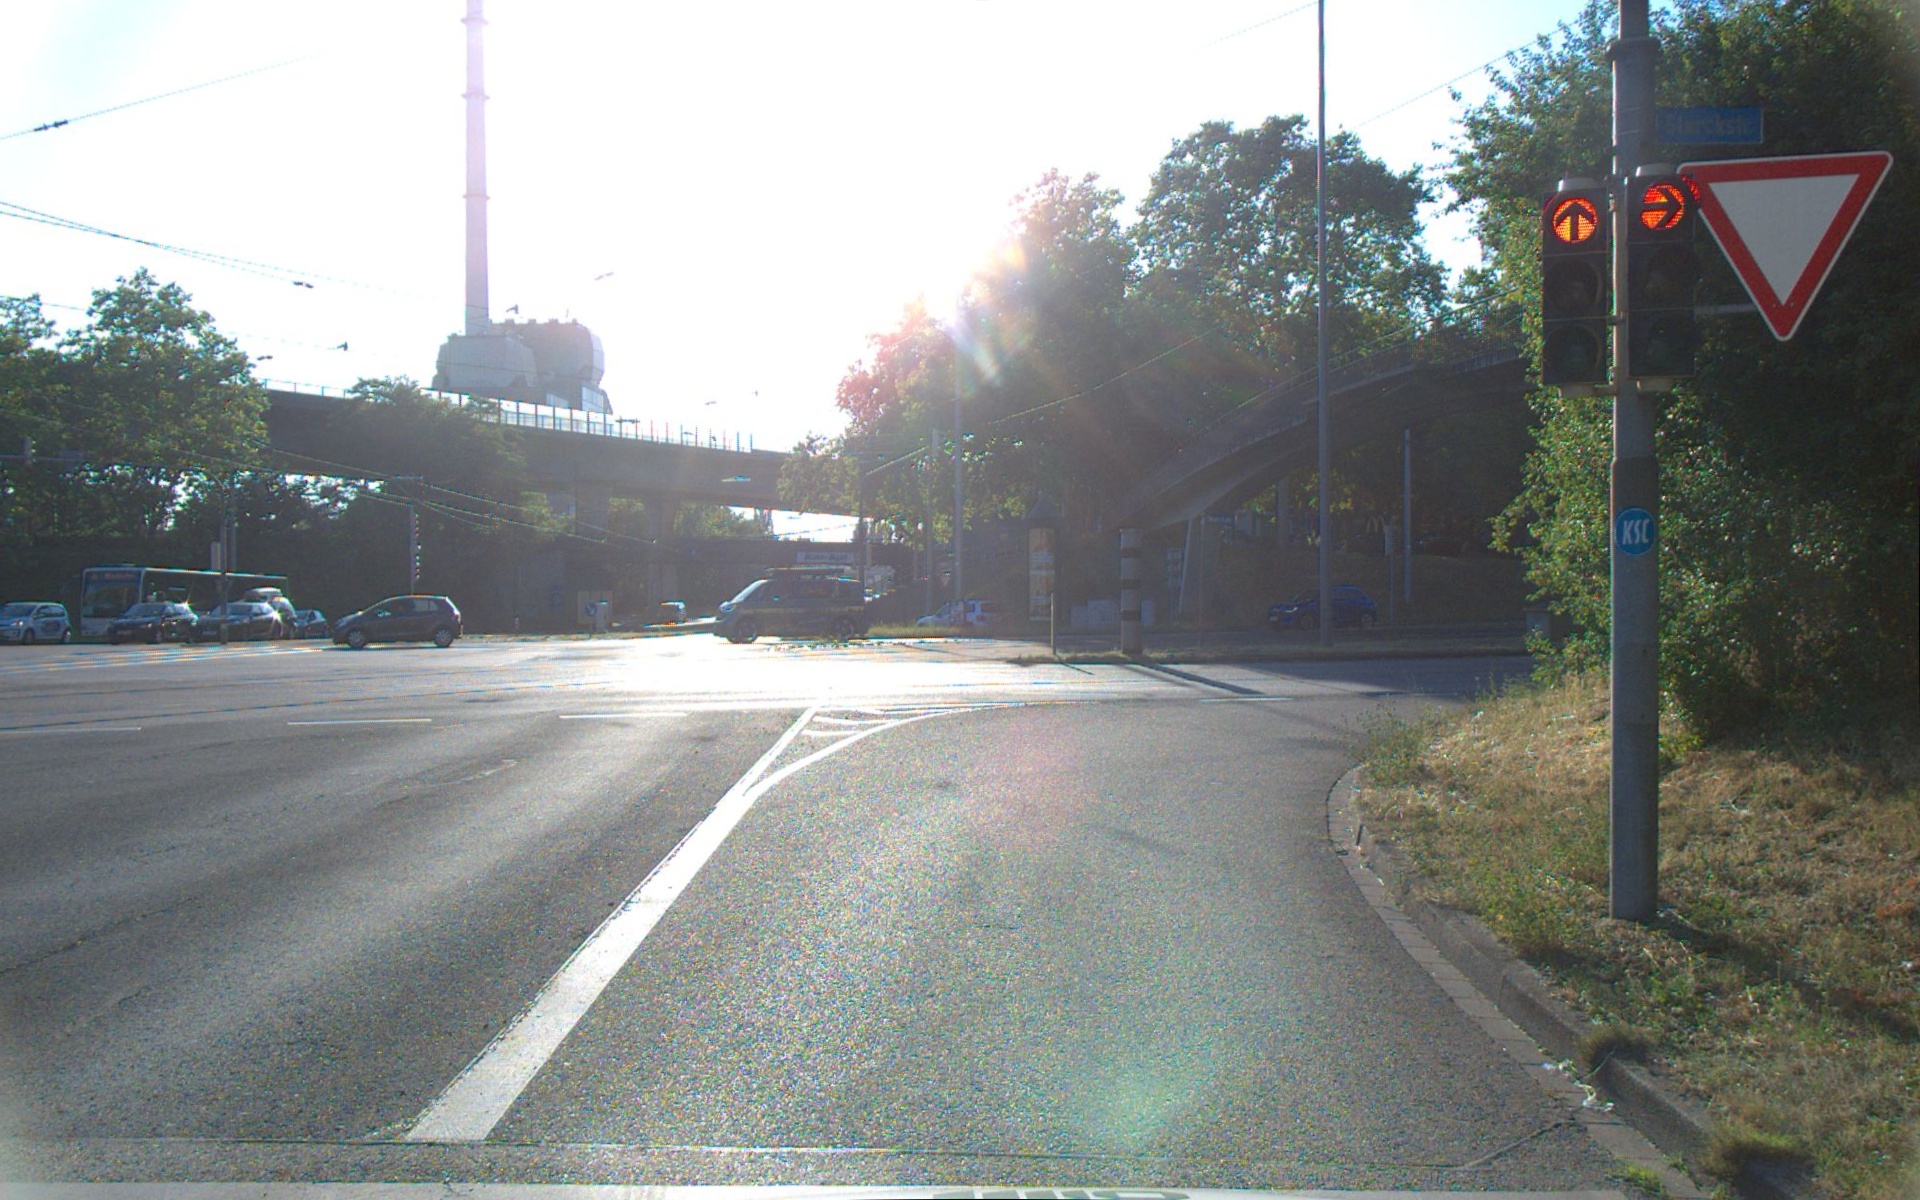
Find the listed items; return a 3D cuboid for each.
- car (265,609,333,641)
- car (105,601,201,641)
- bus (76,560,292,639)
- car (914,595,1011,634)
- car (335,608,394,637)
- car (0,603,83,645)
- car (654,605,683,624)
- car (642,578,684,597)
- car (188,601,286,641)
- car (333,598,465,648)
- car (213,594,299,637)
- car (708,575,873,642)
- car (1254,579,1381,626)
[{"bbox_3d":[-32.003,1.184,80.185,1.665,1.467,4.000,0,0,0],"label":"car"},{"bbox_3d":[-28.499,0.724,58.512,1.572,1.378,3.998,0,0,-3],"label":"car"},{"bbox_3d":[-32.116,-0.032,69.307,2.764,3.006,12.855,0,0,1],"label":"bus"},{"bbox_3d":[0.101,0.637,73.276,4.137,1.681,1.709,0,0,38],"label":"car"},{"bbox_3d":[-31.216,1.157,86.809,1.665,1.467,4.000,0,0,0],"label":"car"},{"bbox_3d":[-32.129,0.803,57.333,1.572,1.378,3.732,0,0,-3],"label":"car"},{"bbox_3d":[-25.994,1.301,147.697,1.675,1.681,4.096,0,0,3],"label":"car"},{"bbox_3d":[-29.600,-1.217,164.967,1.957,1.802,3.991,1,0,31],"label":"car"},{"bbox_3d":[-25.731,0.714,58.996,1.676,1.378,4.095,0,0,0],"label":"car"},{"bbox_3d":[-16.776,0.667,49.565,3.664,1.447,1.688,0,0,-19],"label":"car"},{"bbox_3d":[-28.235,0.596,66.447,1.676,1.681,4.095,0,0,0],"label":"car"},{"bbox_3d":[-5.112,0.250,49.845,4.620,1.939,1.988,0,0,-20],"label":"car"},{"bbox_3d":[12.235,0.088,56.627,3.868,1.586,1.986,0,0,-23],"label":"car"}]
